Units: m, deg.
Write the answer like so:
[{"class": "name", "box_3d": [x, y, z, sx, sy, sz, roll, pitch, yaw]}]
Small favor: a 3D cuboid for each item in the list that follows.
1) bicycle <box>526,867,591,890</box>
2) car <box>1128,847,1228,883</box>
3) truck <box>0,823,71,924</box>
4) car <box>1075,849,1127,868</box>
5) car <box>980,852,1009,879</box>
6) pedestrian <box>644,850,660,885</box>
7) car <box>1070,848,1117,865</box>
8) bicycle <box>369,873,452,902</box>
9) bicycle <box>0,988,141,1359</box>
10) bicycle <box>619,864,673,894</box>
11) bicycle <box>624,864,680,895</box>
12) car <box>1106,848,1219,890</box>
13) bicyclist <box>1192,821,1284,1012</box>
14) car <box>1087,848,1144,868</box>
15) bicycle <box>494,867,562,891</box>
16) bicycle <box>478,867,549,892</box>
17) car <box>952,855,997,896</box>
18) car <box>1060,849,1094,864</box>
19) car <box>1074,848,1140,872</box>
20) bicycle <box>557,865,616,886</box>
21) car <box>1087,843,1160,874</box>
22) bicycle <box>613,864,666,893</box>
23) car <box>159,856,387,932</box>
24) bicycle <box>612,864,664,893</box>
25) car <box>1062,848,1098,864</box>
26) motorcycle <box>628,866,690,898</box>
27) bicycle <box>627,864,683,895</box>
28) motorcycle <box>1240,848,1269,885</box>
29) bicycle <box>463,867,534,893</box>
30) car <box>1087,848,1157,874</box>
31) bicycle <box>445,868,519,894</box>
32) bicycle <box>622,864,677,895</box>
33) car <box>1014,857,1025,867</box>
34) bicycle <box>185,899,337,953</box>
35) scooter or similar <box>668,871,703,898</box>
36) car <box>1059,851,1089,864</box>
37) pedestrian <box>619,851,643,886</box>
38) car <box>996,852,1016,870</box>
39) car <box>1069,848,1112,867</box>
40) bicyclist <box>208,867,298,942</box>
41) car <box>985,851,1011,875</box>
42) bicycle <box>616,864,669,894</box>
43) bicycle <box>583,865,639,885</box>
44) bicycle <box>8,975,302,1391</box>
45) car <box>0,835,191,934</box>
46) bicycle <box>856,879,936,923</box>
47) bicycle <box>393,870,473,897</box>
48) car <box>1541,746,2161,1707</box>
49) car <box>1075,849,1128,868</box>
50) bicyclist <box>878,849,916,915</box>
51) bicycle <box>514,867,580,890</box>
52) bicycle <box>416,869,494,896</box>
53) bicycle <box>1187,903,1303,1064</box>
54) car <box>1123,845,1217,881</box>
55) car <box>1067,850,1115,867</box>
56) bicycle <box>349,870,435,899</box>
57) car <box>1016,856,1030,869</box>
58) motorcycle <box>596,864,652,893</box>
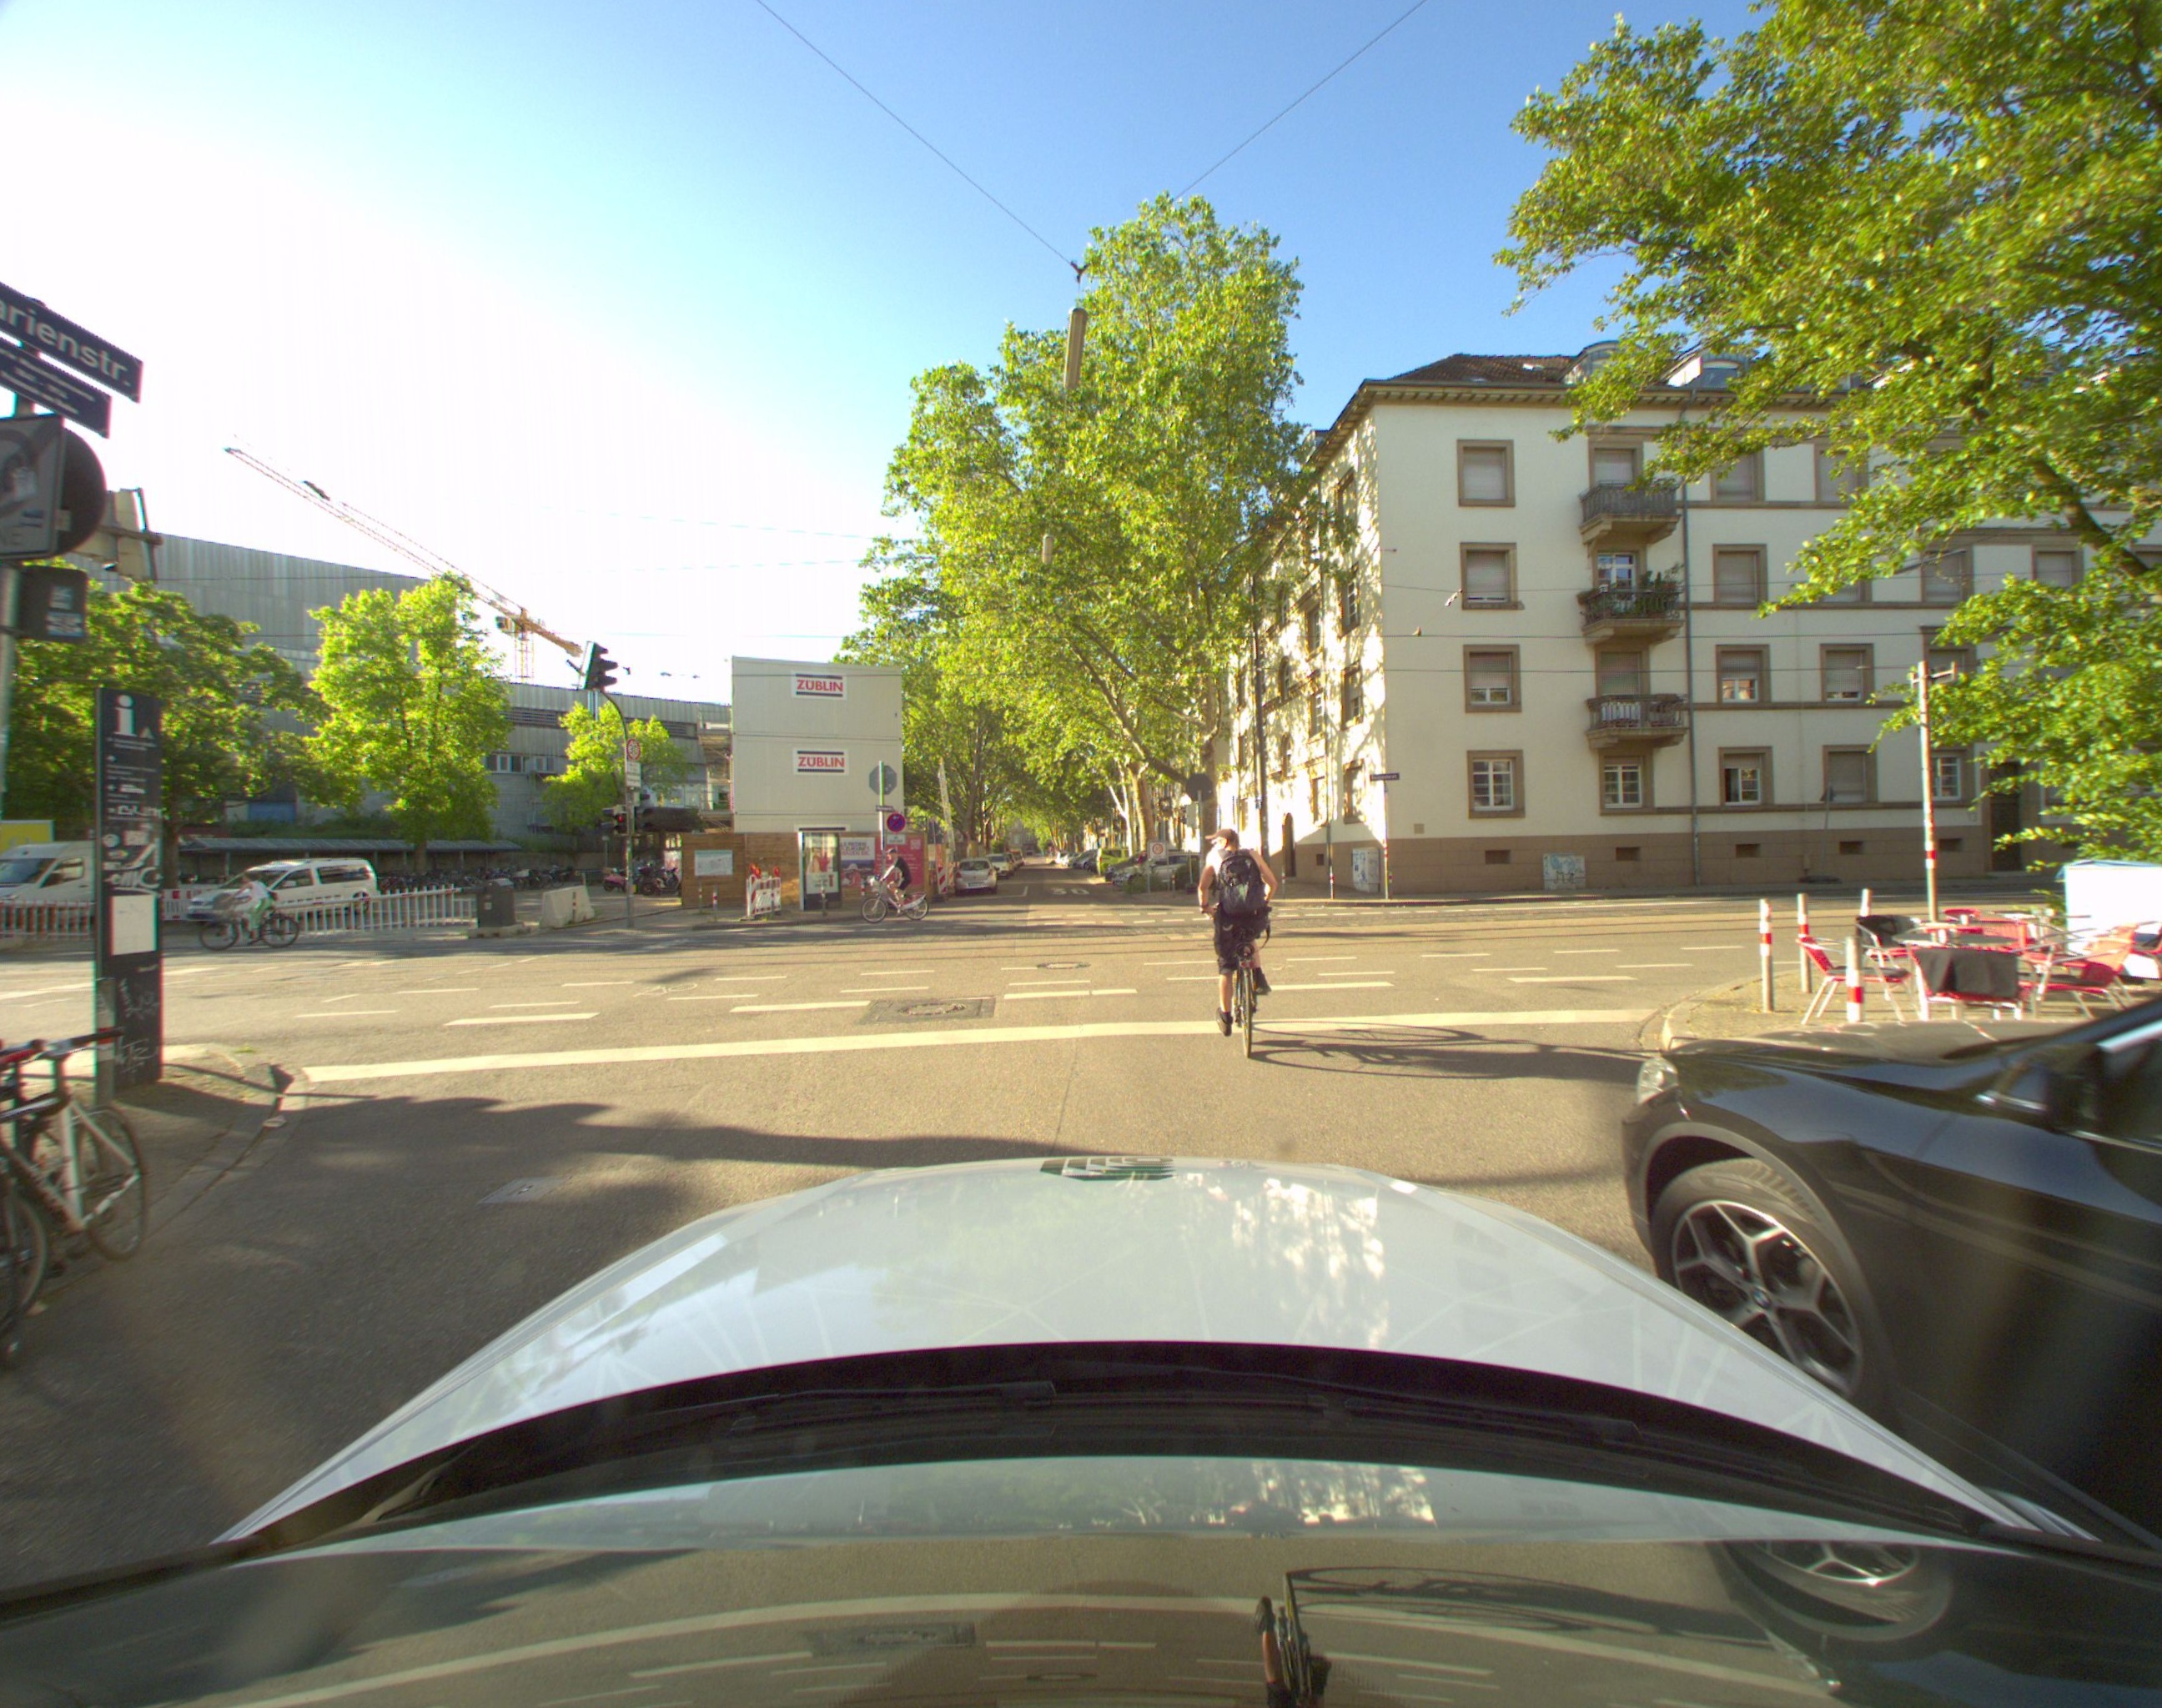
[{"class": "bicycle", "box_3d": [-28.563, 1.331, 44.556, 3.064, 1.147, 0.823, -1, 1, 5]}, {"class": "car", "box_3d": [4.595, 0.518, 38.950, 4.454, 1.571, 1.725, -2, 0, -5]}, {"class": "truck", "box_3d": [-36.659, 0.715, 25.061, 2.377, 3.347, 7.113, -1, 2, -3]}, {"class": "car", "box_3d": [1.752, 0.390, 72.971, 4.454, 1.571, 1.725, -2, 0, -5]}, {"class": "car", "box_3d": [-5.300, 0.684, 50.352, 1.663, 1.562, 3.993, -1, 0, -5]}, {"class": "pedestrian", "box_3d": [-25.337, 0.808, 48.113, 0.805, 2.013, 1.021, -2, 0, -28]}, {"class": "car", "box_3d": [1.163, 0.241, 80.025, 4.454, 1.571, 1.725, -2, 0, -5]}, {"class": "bicycle", "box_3d": [-29.410, 1.455, 35.743, 3.064, 1.147, 0.823, -1, 1, 5]}, {"class": "bicycle", "box_3d": [-4.163, 1.159, 3.077, 0.453, 1.046, 1.645, -1, 0, -37]}, {"class": "bicycle", "box_3d": [-19.603, 1.106, 36.710, 2.061, 1.257, 0.537, -2, 1, -41]}, {"class": "bicycle", "box_3d": [-18.666, 1.085, 35.474, 2.061, 1.257, 0.466, -2, 1, -41]}, {"class": "car", "box_3d": [3.375, 0.592, 34.030, 4.454, 1.571, 1.725, -2, 0, -5]}, {"class": "bicyclist", "box_3d": [1.286, 0.492, 6.773, 0.673, 1.513, 0.669, 0, 0, 3]}, {"class": "car", "box_3d": [2.820, 0.331, 67.362, 4.454, 1.571, 1.725, -2, 0, -5]}, {"class": "bicycle", "box_3d": [-28.780, 1.312, 42.426, 3.064, 1.147, 0.823, -1, 1, 5]}, {"class": "bicycle", "box_3d": [-28.875, 1.303, 41.452, 3.064, 1.147, 0.823, -1, 1, 5]}, {"class": "car", "box_3d": [-4.416, 0.853, 34.261, 1.641, 1.494, 3.993, -4, 0, -5]}, {"class": "car", "box_3d": [-0.552, 0.381, 110.275, 4.454, 1.898, 1.725, -2, 0, -5]}, {"class": "car", "box_3d": [1.816, 0.406, 57.877, 4.454, 1.571, 1.725, -2, 0, -5]}, {"class": "bicycle", "box_3d": [-29.181, 1.270, 48.073, 3.064, 1.147, 0.823, -1, 1, 5]}, {"class": "car", "box_3d": [2.696, 0.281, 51.977, 4.455, 1.836, 1.725, -2, 0, -6]}, {"class": "bicycle", "box_3d": [-20.378, 1.123, 37.602, 2.061, 1.257, 0.537, -2, 1, -41]}, {"class": "car", "box_3d": [-24.927, 1.145, 25.482, 1.996, 1.892, 4.950, -1, 2, 2]}, {"class": "bicycle", "box_3d": [-20.715, 1.131, 38.087, 2.061, 1.257, 0.537, -2, 1, -41]}, {"class": "car", "box_3d": [-0.164, 0.254, 102.861, 4.454, 1.898, 1.725, -2, 0, -5]}, {"class": "motorcycle", "box_3d": [-17.734, 1.157, 34.225, 2.224, 1.257, 0.537, -2, 1, -41]}, {"class": "bicycle", "box_3d": [-18.343, 1.078, 35.128, 2.061, 1.257, 0.466, -2, 1, -41]}, {"class": "motorcycle", "box_3d": [6.406, 0.436, 30.089, 0.513, 1.332, 1.760, -1, 0, -6]}, {"class": "bicycle", "box_3d": [-29.001, 1.295, 40.562, 3.064, 1.147, 0.823, -1, 1, 5]}, {"class": "car", "box_3d": [2.673, 0.455, 53.994, 4.454, 1.571, 1.725, -2, 0, -5]}, {"class": "bicycle", "box_3d": [-29.081, 1.286, 39.526, 3.064, 1.147, 0.823, -1, 1, 5]}, {"class": "bicycle", "box_3d": [-18.976, 1.091, 35.864, 2.061, 1.257, 0.466, -2, 1, -41]}, {"class": "car", "box_3d": [-10.058, 1.242, 133.281, 1.663, 1.562, 4.211, -1, 0, -5]}, {"class": "bicycle", "box_3d": [-18.521, 1.609, 18.435, 2.417, 1.093, 0.894, -1, -1, -4]}, {"class": "scooter or similar", "box_3d": [-16.306, 1.245, 33.587, 0.381, 1.020, 1.494, -1, 1, 15]}, {"class": "car", "box_3d": [-1.057, 0.540, 122.186, 4.454, 1.898, 1.725, -2, 0, -5]}, {"class": "pedestrian", "box_3d": [-26.297, 0.835, 47.627, 0.796, 2.013, 0.941, -1, 0, 7]}, {"class": "car", "box_3d": [-6.677, 0.606, 72.741, 1.663, 1.562, 4.608, -1, 0, -5]}, {"class": "car", "box_3d": [1.004, 0.418, 87.343, 4.454, 1.898, 1.725, -2, 0, -5]}, {"class": "bicyclist", "box_3d": [-18.722, 1.123, 18.435, 1.094, 1.640, 0.895, -1, -1, -4]}, {"class": "car", "box_3d": [-5.669, 0.606, 56.034, 1.663, 1.562, 4.510, -1, 0, -5]}, {"class": "bicycle", "box_3d": [-19.987, 1.114, 37.153, 2.061, 1.257, 0.537, -2, 1, -41]}, {"class": "bicycle", "box_3d": [-29.446, 1.302, 51.008, 3.064, 1.147, 0.823, -1, 1, 5]}, {"class": "bicycle", "box_3d": [-3.709, 1.166, 3.391, 0.460, 1.045, 1.669, -1, 2, -37]}, {"class": "car", "box_3d": [-30.995, 0.796, 24.843, 1.991, 2.530, 5.371, -1, 3, -6]}, {"class": "bicycle", "box_3d": [-4.781, 1.194, 21.037, 1.923, 1.018, 0.677, -2, 0, -22]}, {"class": "bicycle", "box_3d": [-29.329, 1.327, 36.891, 3.064, 1.147, 0.823, -1, 1, 5]}, {"class": "car", "box_3d": [2.579, 0.661, 1.012, 1.753, 1.662, 4.199, 0, 0, 2]}, {"class": "car", "box_3d": [1.767, 0.377, 70.494, 4.454, 1.571, 1.725, -2, 0, -5]}, {"class": "bicyclist", "box_3d": [-4.762, 0.703, 21.051, 0.812, 1.658, 0.677, -2, 0, -22]}, {"class": "bicycle", "box_3d": [-28.596, 1.322, 43.619, 3.064, 1.147, 0.823, -1, 1, 5]}, {"class": "bicycle", "box_3d": [-29.169, 1.336, 37.960, 3.064, 1.147, 0.823, -1, 1, 5]}, {"class": "bicycle", "box_3d": [1.283, 0.976, 6.716, 0.687, 1.016, 1.909, 0, 0, 3]}, {"class": "car", "box_3d": [4.462, 0.453, 41.031, 4.454, 1.671, 1.725, -2, 0, -5]}, {"class": "car", "box_3d": [0.924, 0.422, 77.685, 4.454, 1.571, 1.725, -2, 0, -5]}, {"class": "bicycle", "box_3d": [-29.380, 1.306, 34.746, 3.064, 1.147, 0.823, -1, 1, 5]}, {"class": "car", "box_3d": [-7.356, 1.088, 102.419, 1.663, 1.562, 4.211, -1, 0, -5]}, {"class": "motorcycle", "box_3d": [-21.719, 1.130, 38.748, 2.224, 1.257, 0.537, -2, 1, -41]}]
